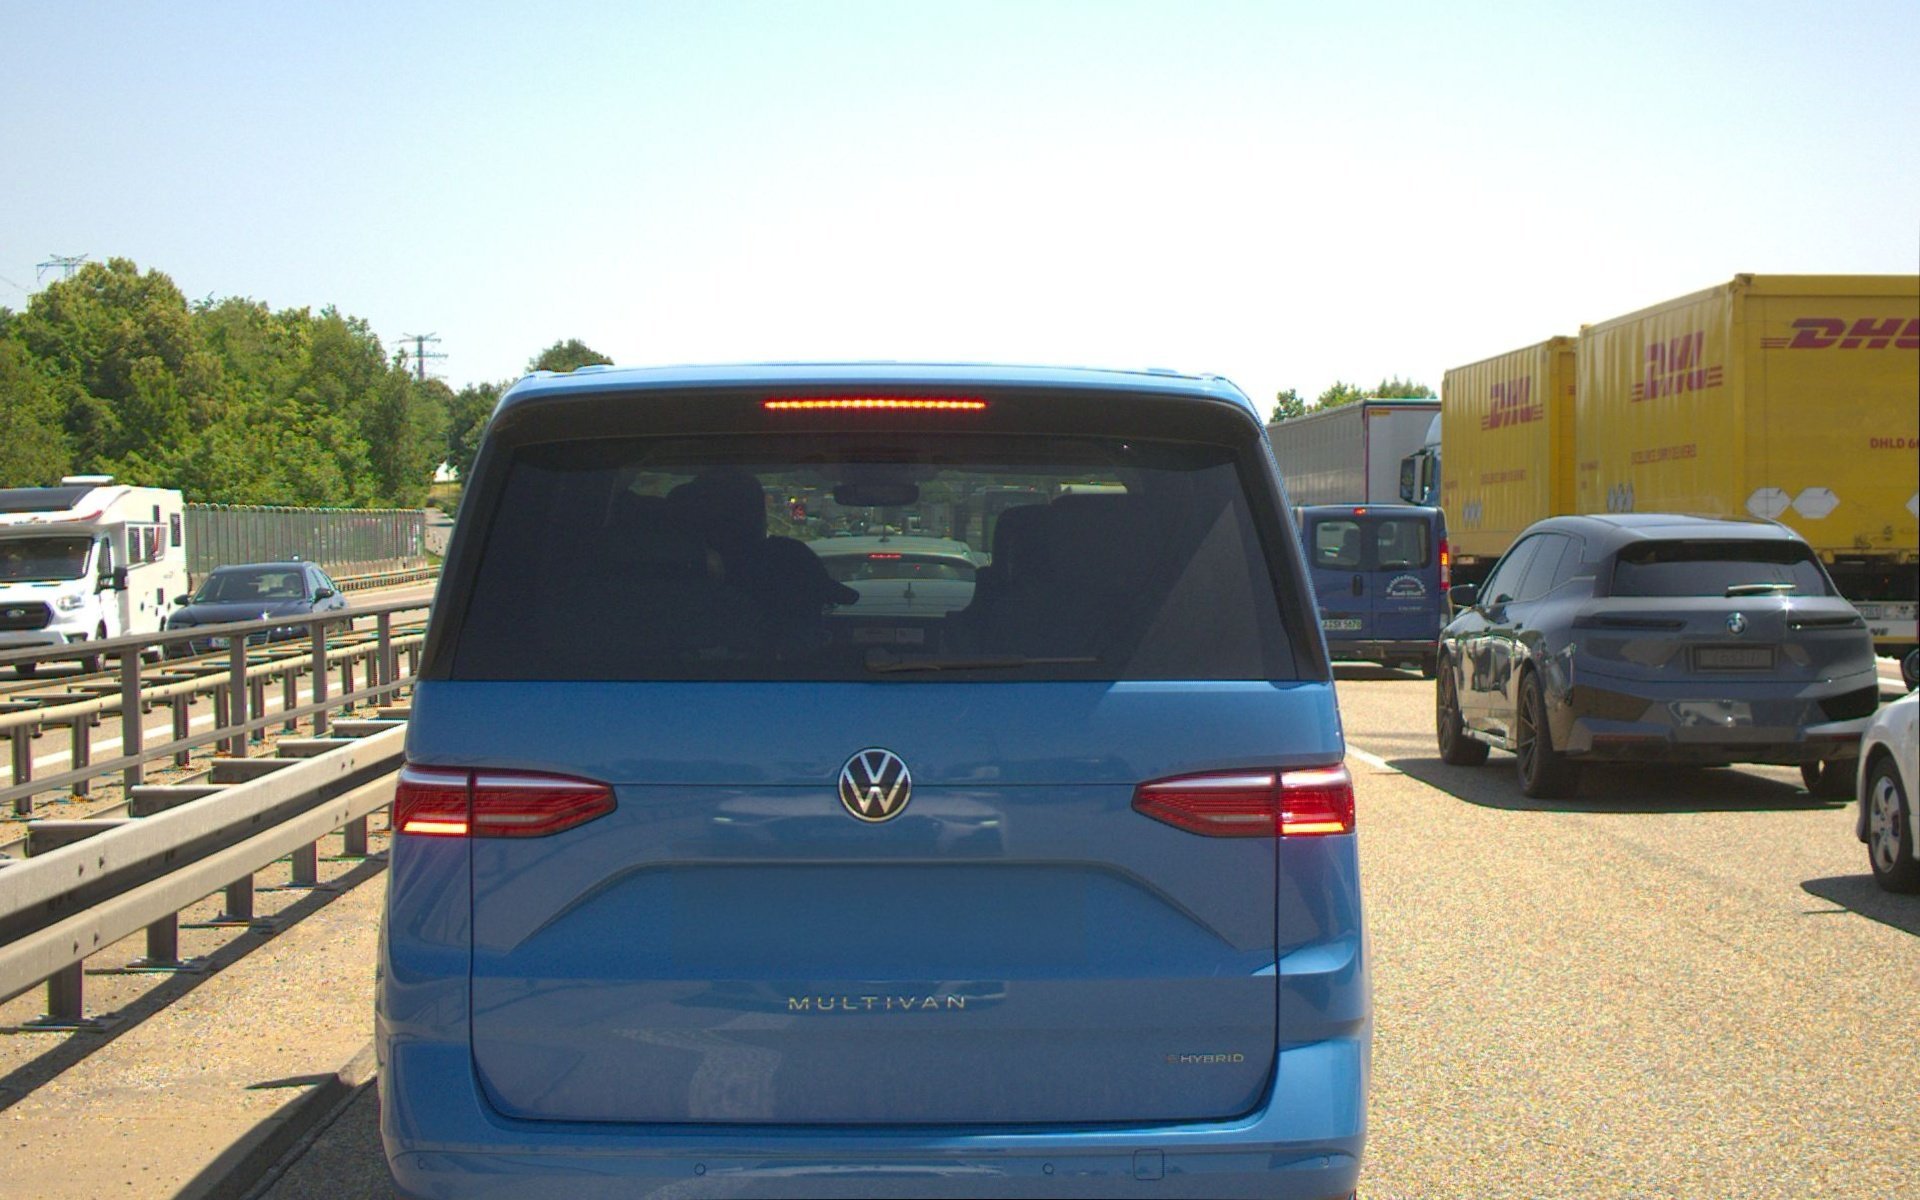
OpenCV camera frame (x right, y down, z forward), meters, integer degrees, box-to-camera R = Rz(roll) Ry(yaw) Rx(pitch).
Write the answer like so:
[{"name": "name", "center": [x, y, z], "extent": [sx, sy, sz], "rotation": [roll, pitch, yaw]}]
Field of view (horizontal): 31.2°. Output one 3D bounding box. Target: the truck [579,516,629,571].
[{"name": "truck", "center": [-22.846, -3.625, 220.837], "extent": [2.497, 3.354, 5.834], "rotation": [-3, 1, -1]}]

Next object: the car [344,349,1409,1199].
[{"name": "car", "center": [-0.169, 0.475, 7.963], "extent": [1.820, 1.851, 4.075], "rotation": [1, 1, -1]}]

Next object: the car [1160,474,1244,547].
[{"name": "car", "center": [6.831, -2.516, 97.380], "extent": [1.993, 2.007, 4.461], "rotation": [-1, 1, -1]}]

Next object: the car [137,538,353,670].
[{"name": "car", "center": [-9.354, 0.017, 45.317], "extent": [1.867, 1.526, 4.425], "rotation": [-4, 1, 0]}]

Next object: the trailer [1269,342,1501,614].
[{"name": "trailer", "center": [7.606, -2.136, 63.015], "extent": [2.637, 4.501, 11.302], "rotation": [1, 1, -1]}]

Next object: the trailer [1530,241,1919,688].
[{"name": "trailer", "center": [8.426, -1.332, 37.155], "extent": [2.864, 4.224, 9.012], "rotation": [1, 1, -1]}]

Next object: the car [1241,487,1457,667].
[{"name": "car", "center": [4.467, -0.292, 40.070], "extent": [1.962, 1.986, 4.293], "rotation": [0, 1, -1]}]

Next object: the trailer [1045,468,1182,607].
[{"name": "trailer", "center": [3.452, -1.403, 79.722], "extent": [2.569, 2.980, 10.663], "rotation": [1, 1, 0]}]

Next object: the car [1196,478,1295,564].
[{"name": "car", "center": [6.905, -1.891, 83.408], "extent": [1.993, 2.007, 4.000], "rotation": [1, 1, -1]}]

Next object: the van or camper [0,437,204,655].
[{"name": "van or camper", "center": [-13.425, -0.796, 51.870], "extent": [2.422, 3.013, 7.027], "rotation": [-2, 1, -1]}]

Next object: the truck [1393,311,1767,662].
[{"name": "truck", "center": [8.206, -1.454, 47.162], "extent": [2.836, 4.228, 11.011], "rotation": [1, 1, -1]}]

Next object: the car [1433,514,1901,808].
[{"name": "car", "center": [4.243, 0.303, 21.346], "extent": [1.962, 1.639, 4.293], "rotation": [0, 1, -1]}]

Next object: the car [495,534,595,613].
[{"name": "car", "center": [-10.067, -0.666, 83.601], "extent": [1.867, 1.694, 4.431], "rotation": [-4, 2, -1]}]

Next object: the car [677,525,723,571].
[{"name": "car", "center": [-12.737, -2.572, 168.706], "extent": [1.863, 2.124, 4.268], "rotation": [-3, 1, 0]}]

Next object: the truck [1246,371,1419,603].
[{"name": "truck", "center": [7.520, -2.231, 70.143], "extent": [2.667, 4.469, 6.850], "rotation": [1, 1, -1]}]

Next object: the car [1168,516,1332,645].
[{"name": "car", "center": [4.173, -0.309, 50.014], "extent": [1.993, 1.809, 4.000], "rotation": [0, 1, -1]}]

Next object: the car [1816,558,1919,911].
[{"name": "car", "center": [4.873, 0.567, 13.719], "extent": [1.788, 1.450, 4.293], "rotation": [0, 1, -1]}]
